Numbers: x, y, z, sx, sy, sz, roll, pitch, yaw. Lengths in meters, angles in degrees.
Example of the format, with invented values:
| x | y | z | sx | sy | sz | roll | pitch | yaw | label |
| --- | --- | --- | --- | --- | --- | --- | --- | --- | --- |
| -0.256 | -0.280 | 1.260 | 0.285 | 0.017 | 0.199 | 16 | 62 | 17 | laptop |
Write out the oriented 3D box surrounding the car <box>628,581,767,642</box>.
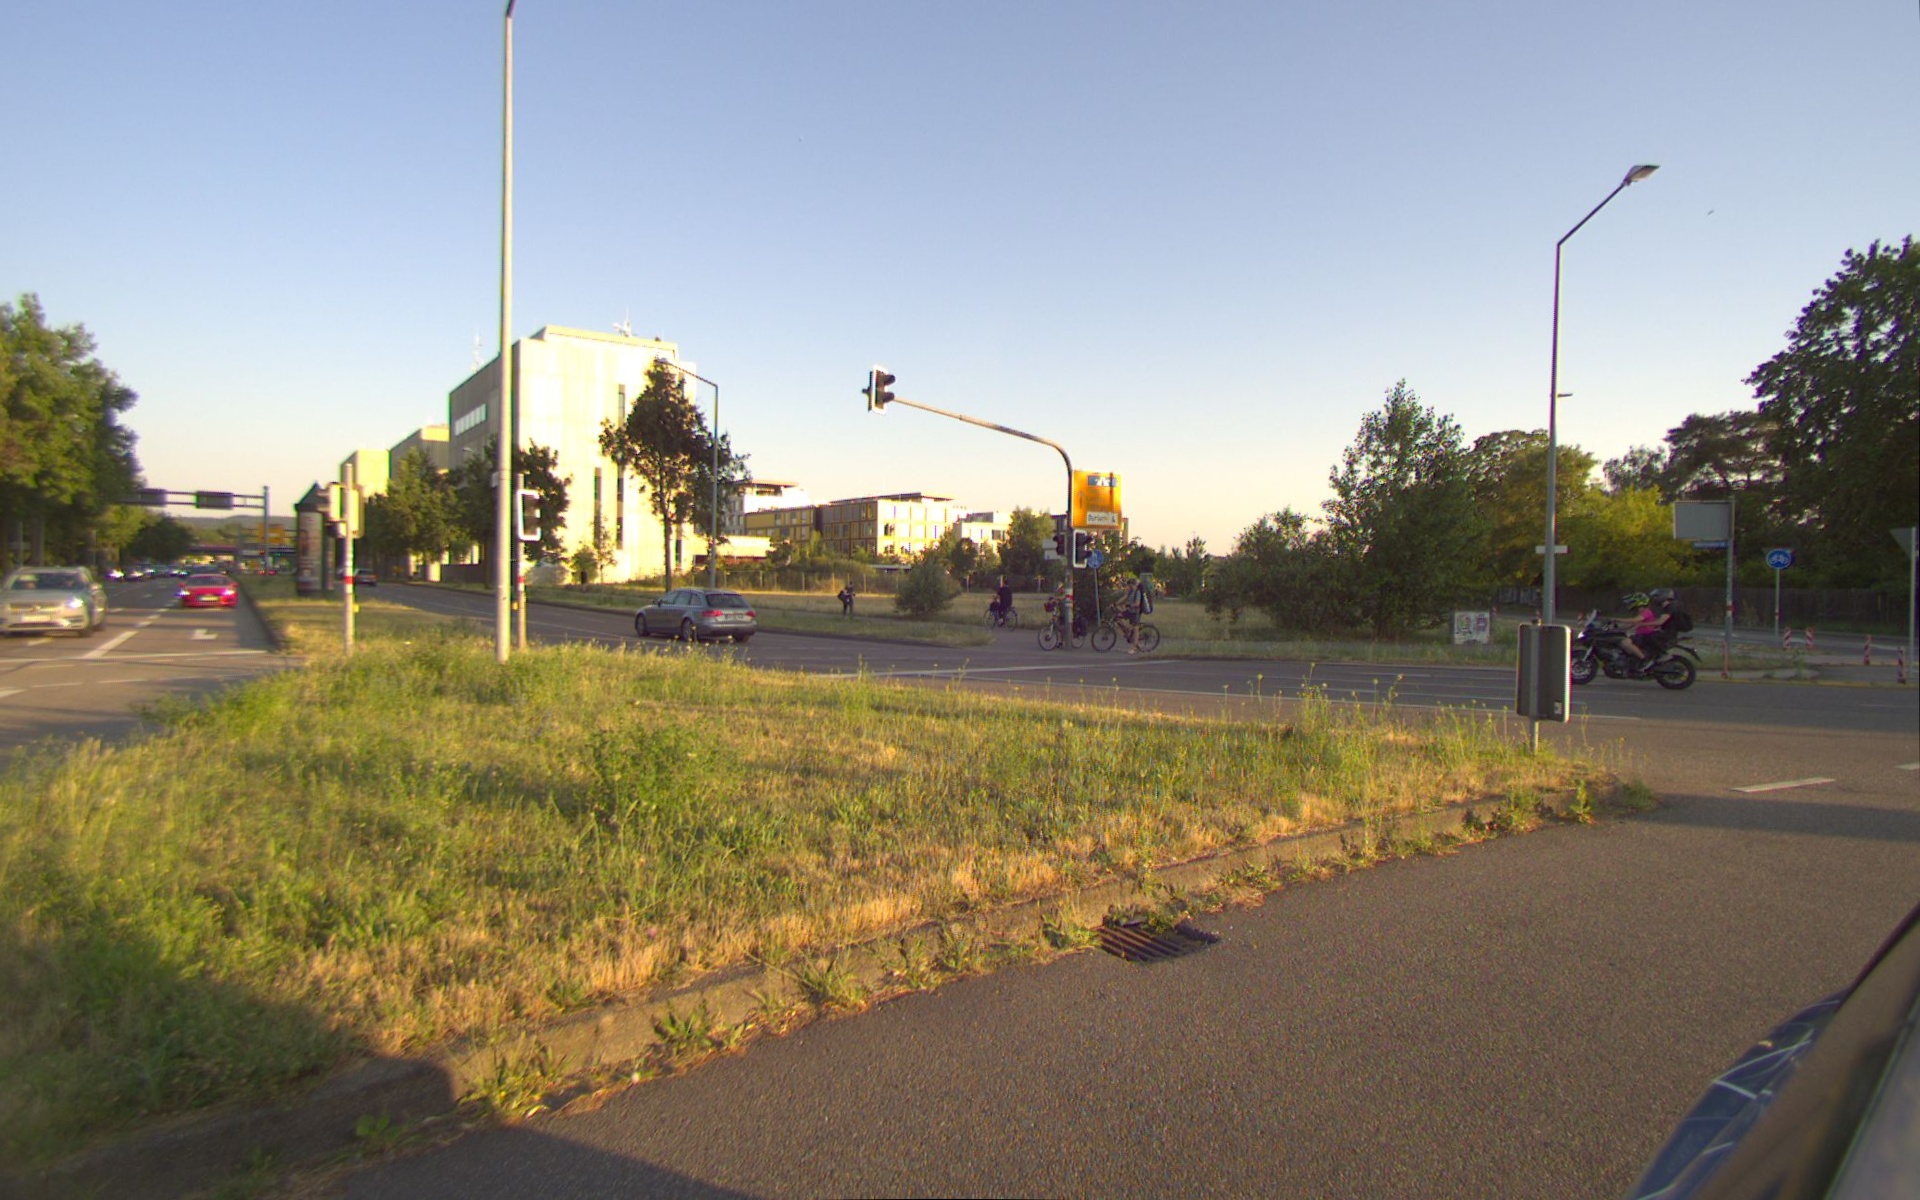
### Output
| x | y | z | sx | sy | sz | roll | pitch | yaw | label |
| --- | --- | --- | --- | --- | --- | --- | --- | --- | --- |
| -7.248 | 0.264 | 27.627 | 1.773 | 1.440 | 4.440 | 1 | 2 | -43 | car |

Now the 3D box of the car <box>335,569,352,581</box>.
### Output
| x | y | z | sx | sy | sz | roll | pitch | yaw | label |
| --- | --- | --- | --- | --- | --- | --- | --- | --- | --- |
| -81.286 | -3.254 | 133.355 | 1.718 | 1.507 | 4.136 | 1 | 1 | -34 | car |

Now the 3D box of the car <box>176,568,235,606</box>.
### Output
| x | y | z | sx | sy | sz | roll | pitch | yaw | label |
| --- | --- | --- | --- | --- | --- | --- | --- | --- | --- |
| -31.405 | -0.538 | 42.227 | 1.810 | 1.479 | 4.581 | 1 | 0 | -35 | car |

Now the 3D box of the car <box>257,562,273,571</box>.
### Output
| x | y | z | sx | sy | sz | roll | pitch | yaw | label |
| --- | --- | --- | --- | --- | --- | --- | --- | --- | --- |
| -123.464 | -5.968 | 179.749 | 1.964 | 1.489 | 3.997 | 1 | 1 | -39 | car |

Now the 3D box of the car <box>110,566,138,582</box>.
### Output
| x | y | z | sx | sy | sz | roll | pitch | yaw | label |
| --- | --- | --- | --- | --- | --- | --- | --- | --- | --- |
| -71.482 | -2.204 | 86.548 | 1.589 | 1.325 | 3.716 | -1 | 2 | -36 | car |

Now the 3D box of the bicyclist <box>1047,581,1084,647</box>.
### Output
| x | y | z | sx | sy | sz | roll | pitch | yaw | label |
| --- | --- | --- | --- | --- | --- | --- | --- | --- | --- |
| 2.830 | 0.361 | 27.228 | 0.757 | 1.722 | 0.640 | -2 | 3 | -40 | bicyclist |

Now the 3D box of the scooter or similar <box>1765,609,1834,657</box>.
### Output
| x | y | z | sx | sy | sz | roll | pitch | yaw | label |
| --- | --- | --- | --- | --- | --- | --- | --- | --- | --- |
| 21.221 | 0.824 | 25.592 | 1.356 | 1.177 | 0.442 | 1 | 1 | -2 | scooter or similar |

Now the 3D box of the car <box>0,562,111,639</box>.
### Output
| x | y | z | sx | sy | sz | roll | pitch | yaw | label |
| --- | --- | --- | --- | --- | --- | --- | --- | --- | --- |
| -22.902 | -0.040 | 25.480 | 1.886 | 1.776 | 4.921 | -1 | 1 | -35 | car |

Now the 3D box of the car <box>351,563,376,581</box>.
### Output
| x | y | z | sx | sy | sz | roll | pitch | yaw | label |
| --- | --- | --- | --- | --- | --- | --- | --- | --- | --- |
| -50.342 | -2.353 | 85.424 | 1.716 | 1.442 | 4.140 | 1 | 1 | -29 | car |

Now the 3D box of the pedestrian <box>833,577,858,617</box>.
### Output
| x | y | z | sx | sy | sz | roll | pitch | yaw | label |
| --- | --- | --- | --- | --- | --- | --- | --- | --- | --- |
| -4.508 | -0.128 | 39.707 | 0.782 | 1.569 | 0.567 | 0 | 1 | -37 | pedestrian |

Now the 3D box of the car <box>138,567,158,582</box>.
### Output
| x | y | z | sx | sy | sz | roll | pitch | yaw | label |
| --- | --- | --- | --- | --- | --- | --- | --- | --- | --- |
| -89.992 | -2.834 | 112.201 | 1.589 | 1.537 | 3.716 | -1 | 2 | -36 | car |

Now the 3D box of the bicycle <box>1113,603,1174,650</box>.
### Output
| x | y | z | sx | sy | sz | roll | pitch | yaw | label |
| --- | --- | --- | --- | --- | --- | --- | --- | --- | --- |
| 4.801 | 0.675 | 26.370 | 1.894 | 1.098 | 0.456 | -2 | 2 | -40 | bicycle |

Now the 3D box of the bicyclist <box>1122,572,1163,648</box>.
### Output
| x | y | z | sx | sy | sz | roll | pitch | yaw | label |
| --- | --- | --- | --- | --- | --- | --- | --- | --- | --- |
| 4.731 | 0.245 | 26.203 | 0.894 | 1.921 | 0.640 | -2 | 2 | -40 | bicyclist |

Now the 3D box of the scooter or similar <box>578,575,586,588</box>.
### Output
| x | y | z | sx | sy | sz | roll | pitch | yaw | label |
| --- | --- | --- | --- | --- | --- | --- | --- | --- | --- |
| -28.145 | -1.363 | 75.299 | 0.242 | 0.925 | 1.039 | 1 | 1 | -37 | scooter or similar |

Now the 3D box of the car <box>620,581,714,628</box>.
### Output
| x | y | z | sx | sy | sz | roll | pitch | yaw | label |
| --- | --- | --- | --- | --- | --- | --- | --- | --- | --- |
| -10.317 | 0.113 | 35.468 | 1.770 | 1.482 | 3.997 | 1 | 1 | -38 | car |

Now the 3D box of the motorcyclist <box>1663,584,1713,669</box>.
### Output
| x | y | z | sx | sy | sz | roll | pitch | yaw | label |
| --- | --- | --- | --- | --- | --- | --- | --- | --- | --- |
| 12.662 | 0.447 | 17.616 | 0.588 | 1.426 | 0.630 | 1 | 1 | 27 | motorcyclist |

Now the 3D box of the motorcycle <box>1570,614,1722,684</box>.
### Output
| x | y | z | sx | sy | sz | roll | pitch | yaw | label |
| --- | --- | --- | --- | --- | --- | --- | --- | --- | --- |
| 12.075 | 0.844 | 17.890 | 2.139 | 1.115 | 0.553 | 1 | 1 | 27 | motorcycle |

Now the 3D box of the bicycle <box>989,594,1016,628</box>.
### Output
| x | y | z | sx | sy | sz | roll | pitch | yaw | label |
| --- | --- | --- | --- | --- | --- | --- | --- | --- | --- |
| 1.446 | 0.360 | 34.592 | 0.274 | 1.102 | 1.375 | 1 | 1 | -25 | bicycle |

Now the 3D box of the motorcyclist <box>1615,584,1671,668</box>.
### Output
| x | y | z | sx | sy | sz | roll | pitch | yaw | label |
| --- | --- | --- | --- | --- | --- | --- | --- | --- | --- |
| 12.080 | 0.442 | 17.917 | 0.708 | 1.434 | 0.682 | 1 | 1 | 27 | motorcyclist |

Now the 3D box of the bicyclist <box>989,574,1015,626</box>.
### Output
| x | y | z | sx | sy | sz | roll | pitch | yaw | label |
| --- | --- | --- | --- | --- | --- | --- | --- | --- | --- |
| 1.441 | -0.004 | 34.635 | 0.526 | 1.765 | 0.845 | 1 | 1 | -26 | bicyclist |

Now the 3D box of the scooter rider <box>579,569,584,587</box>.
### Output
| x | y | z | sx | sy | sz | roll | pitch | yaw | label |
| --- | --- | --- | --- | --- | --- | --- | --- | --- | --- |
| -28.137 | -1.625 | 75.263 | 0.260 | 1.356 | 0.406 | 1 | 1 | -37 | scooter rider |

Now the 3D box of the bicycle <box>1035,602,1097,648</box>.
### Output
| x | y | z | sx | sy | sz | roll | pitch | yaw | label |
| --- | --- | --- | --- | --- | --- | --- | --- | --- | --- |
| 2.864 | 0.649 | 27.268 | 1.894 | 1.098 | 0.456 | -3 | 3 | -40 | bicycle |

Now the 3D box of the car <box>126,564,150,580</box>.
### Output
| x | y | z | sx | sy | sz | roll | pitch | yaw | label |
| --- | --- | --- | --- | --- | --- | --- | --- | --- | --- |
| -79.548 | -2.718 | 97.954 | 1.589 | 1.537 | 3.716 | -1 | 2 | -36 | car |

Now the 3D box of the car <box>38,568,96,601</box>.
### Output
| x | y | z | sx | sy | sz | roll | pitch | yaw | label |
| --- | --- | --- | --- | --- | --- | --- | --- | --- | --- |
| -42.439 | -0.760 | 48.161 | 1.694 | 1.502 | 3.632 | -1 | 2 | -36 | car |

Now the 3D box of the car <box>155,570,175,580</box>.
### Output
| x | y | z | sx | sy | sz | roll | pitch | yaw | label |
| --- | --- | --- | --- | --- | --- | --- | --- | --- | --- |
| -101.596 | -3.209 | 129.414 | 1.841 | 1.325 | 4.137 | -1 | 2 | -36 | car |

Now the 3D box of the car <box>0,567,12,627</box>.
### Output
| x | y | z | sx | sy | sz | roll | pitch | yaw | label |
| --- | --- | --- | --- | --- | --- | --- | --- | --- | --- |
| -28.230 | -0.082 | 28.253 | 1.877 | 1.731 | 4.942 | 1 | 0 | -35 | car |
